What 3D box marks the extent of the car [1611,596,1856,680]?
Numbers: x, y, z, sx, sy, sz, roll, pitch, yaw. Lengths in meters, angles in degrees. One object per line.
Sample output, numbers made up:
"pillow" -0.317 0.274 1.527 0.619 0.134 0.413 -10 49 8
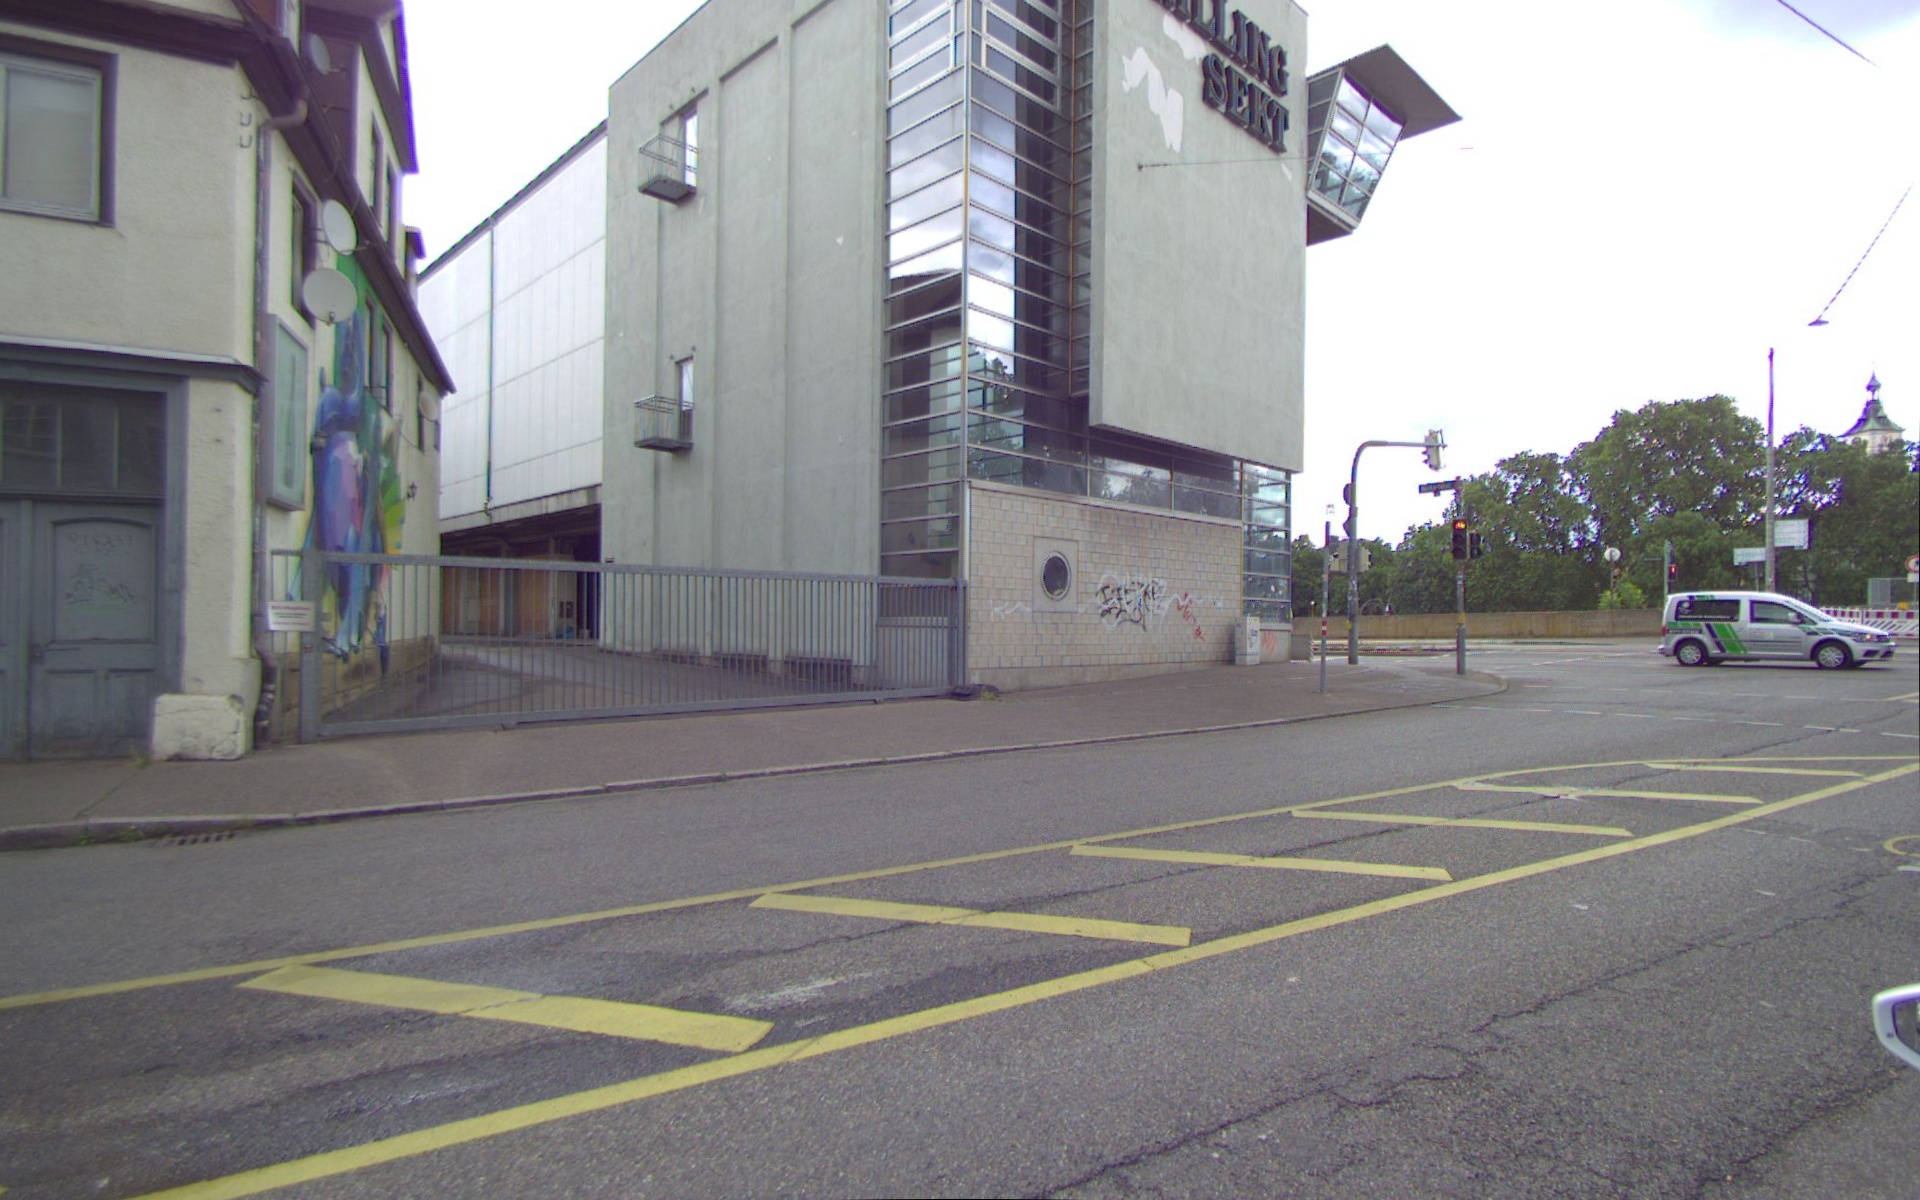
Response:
"car" 18.524 0.882 24.232 1.982 1.826 4.314 0 -2 -37
